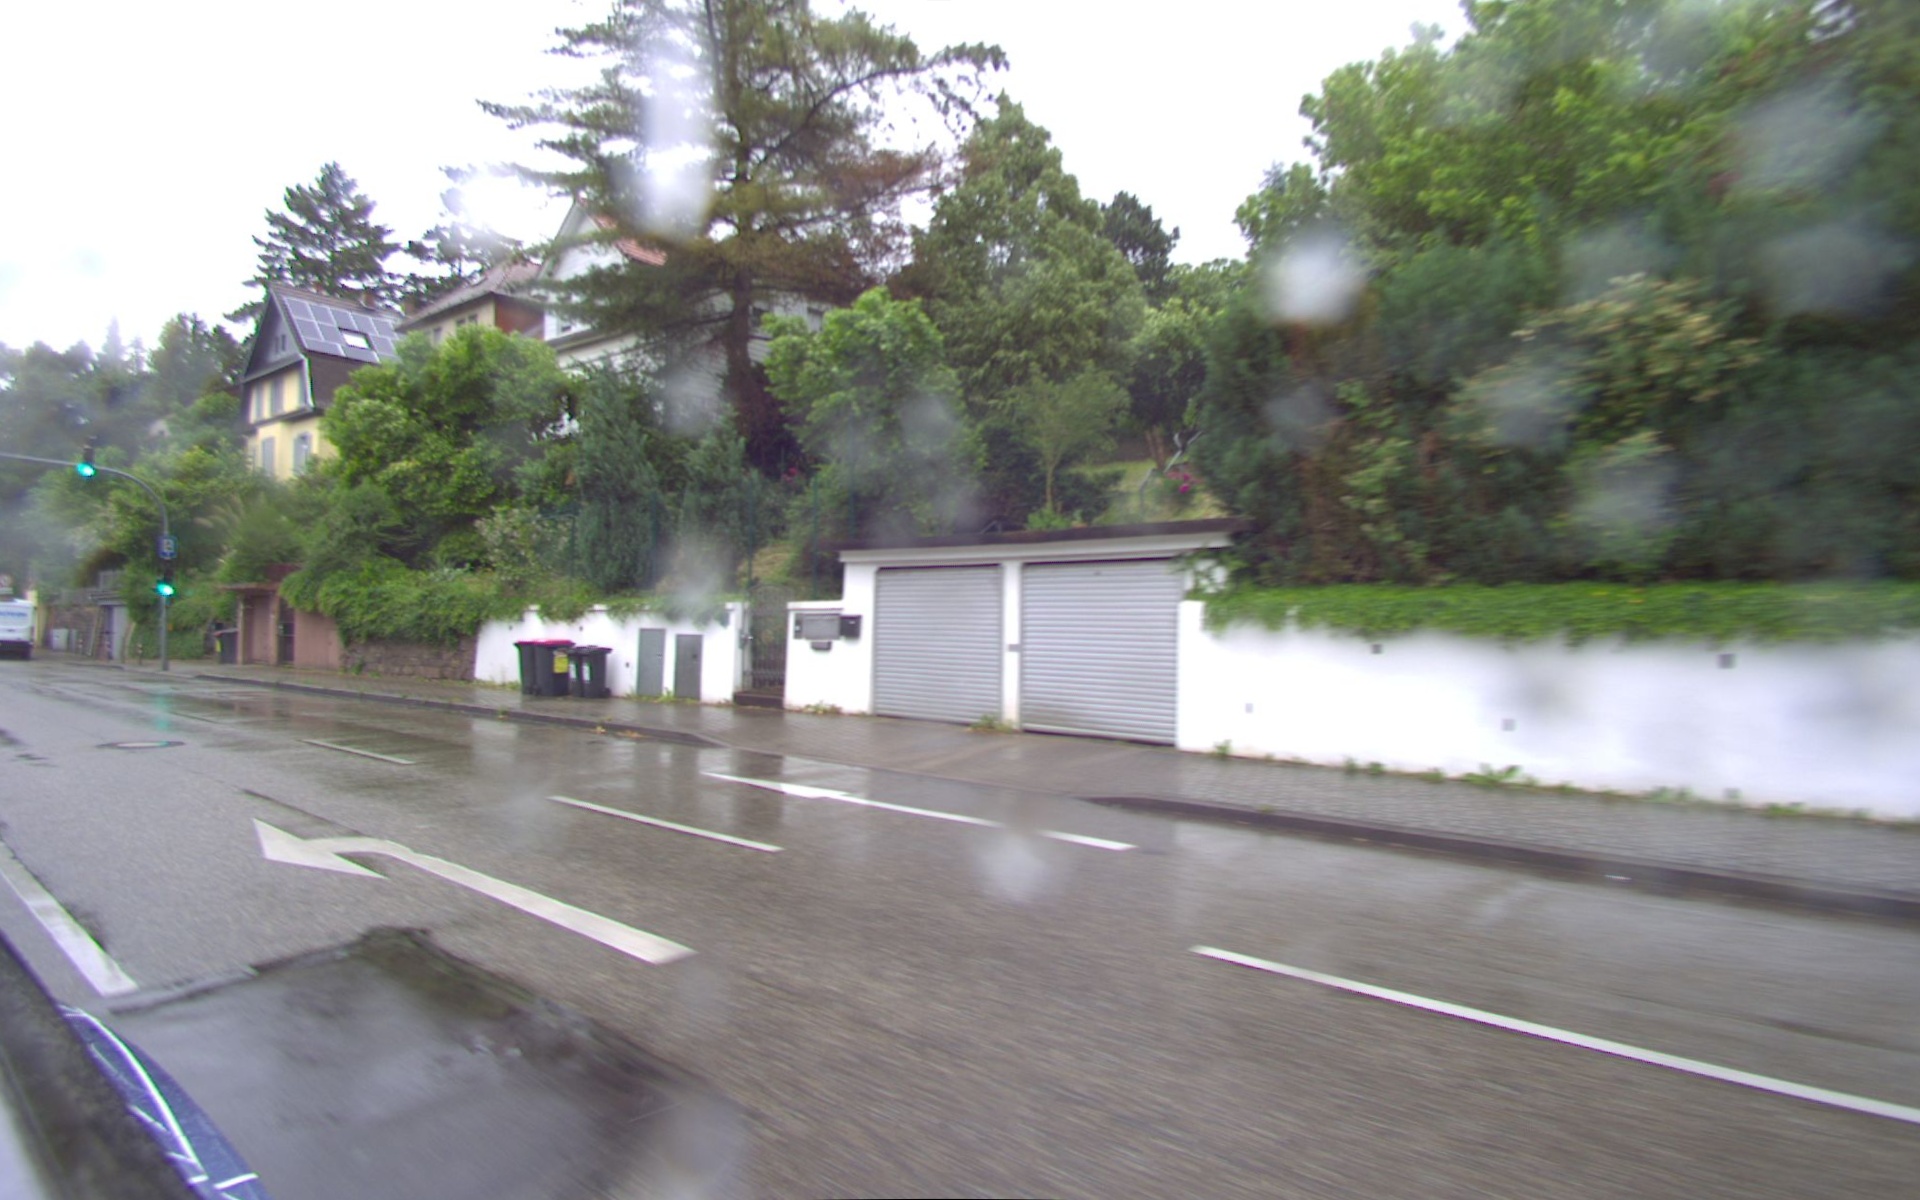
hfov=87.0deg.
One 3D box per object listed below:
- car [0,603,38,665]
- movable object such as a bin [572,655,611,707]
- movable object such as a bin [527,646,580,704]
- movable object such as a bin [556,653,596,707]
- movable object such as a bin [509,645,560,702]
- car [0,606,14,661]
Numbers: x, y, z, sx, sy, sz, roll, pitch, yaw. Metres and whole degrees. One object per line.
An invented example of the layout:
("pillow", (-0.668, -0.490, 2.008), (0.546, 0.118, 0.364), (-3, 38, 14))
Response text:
("car", (-41.127, 1.410, 42.959), (4.848, 2.497, 2.059), (-1, -6, 39))
("movable object such as a bin", (-6.638, 1.449, 18.229), (0.416, 0.905, 0.526), (-1, -2, 38))
("movable object such as a bin", (-7.615, 1.389, 18.968), (0.656, 1.048, 0.674), (-1, -2, 38))
("movable object such as a bin", (-7.009, 1.453, 18.485), (0.416, 0.947, 0.537), (-1, -2, 38))
("movable object such as a bin", (-8.201, 1.404, 19.505), (0.656, 1.048, 0.674), (-1, -2, 38))
("car", (-45.944, 1.477, 46.996), (4.911, 2.487, 2.135), (-1, -6, 39))
